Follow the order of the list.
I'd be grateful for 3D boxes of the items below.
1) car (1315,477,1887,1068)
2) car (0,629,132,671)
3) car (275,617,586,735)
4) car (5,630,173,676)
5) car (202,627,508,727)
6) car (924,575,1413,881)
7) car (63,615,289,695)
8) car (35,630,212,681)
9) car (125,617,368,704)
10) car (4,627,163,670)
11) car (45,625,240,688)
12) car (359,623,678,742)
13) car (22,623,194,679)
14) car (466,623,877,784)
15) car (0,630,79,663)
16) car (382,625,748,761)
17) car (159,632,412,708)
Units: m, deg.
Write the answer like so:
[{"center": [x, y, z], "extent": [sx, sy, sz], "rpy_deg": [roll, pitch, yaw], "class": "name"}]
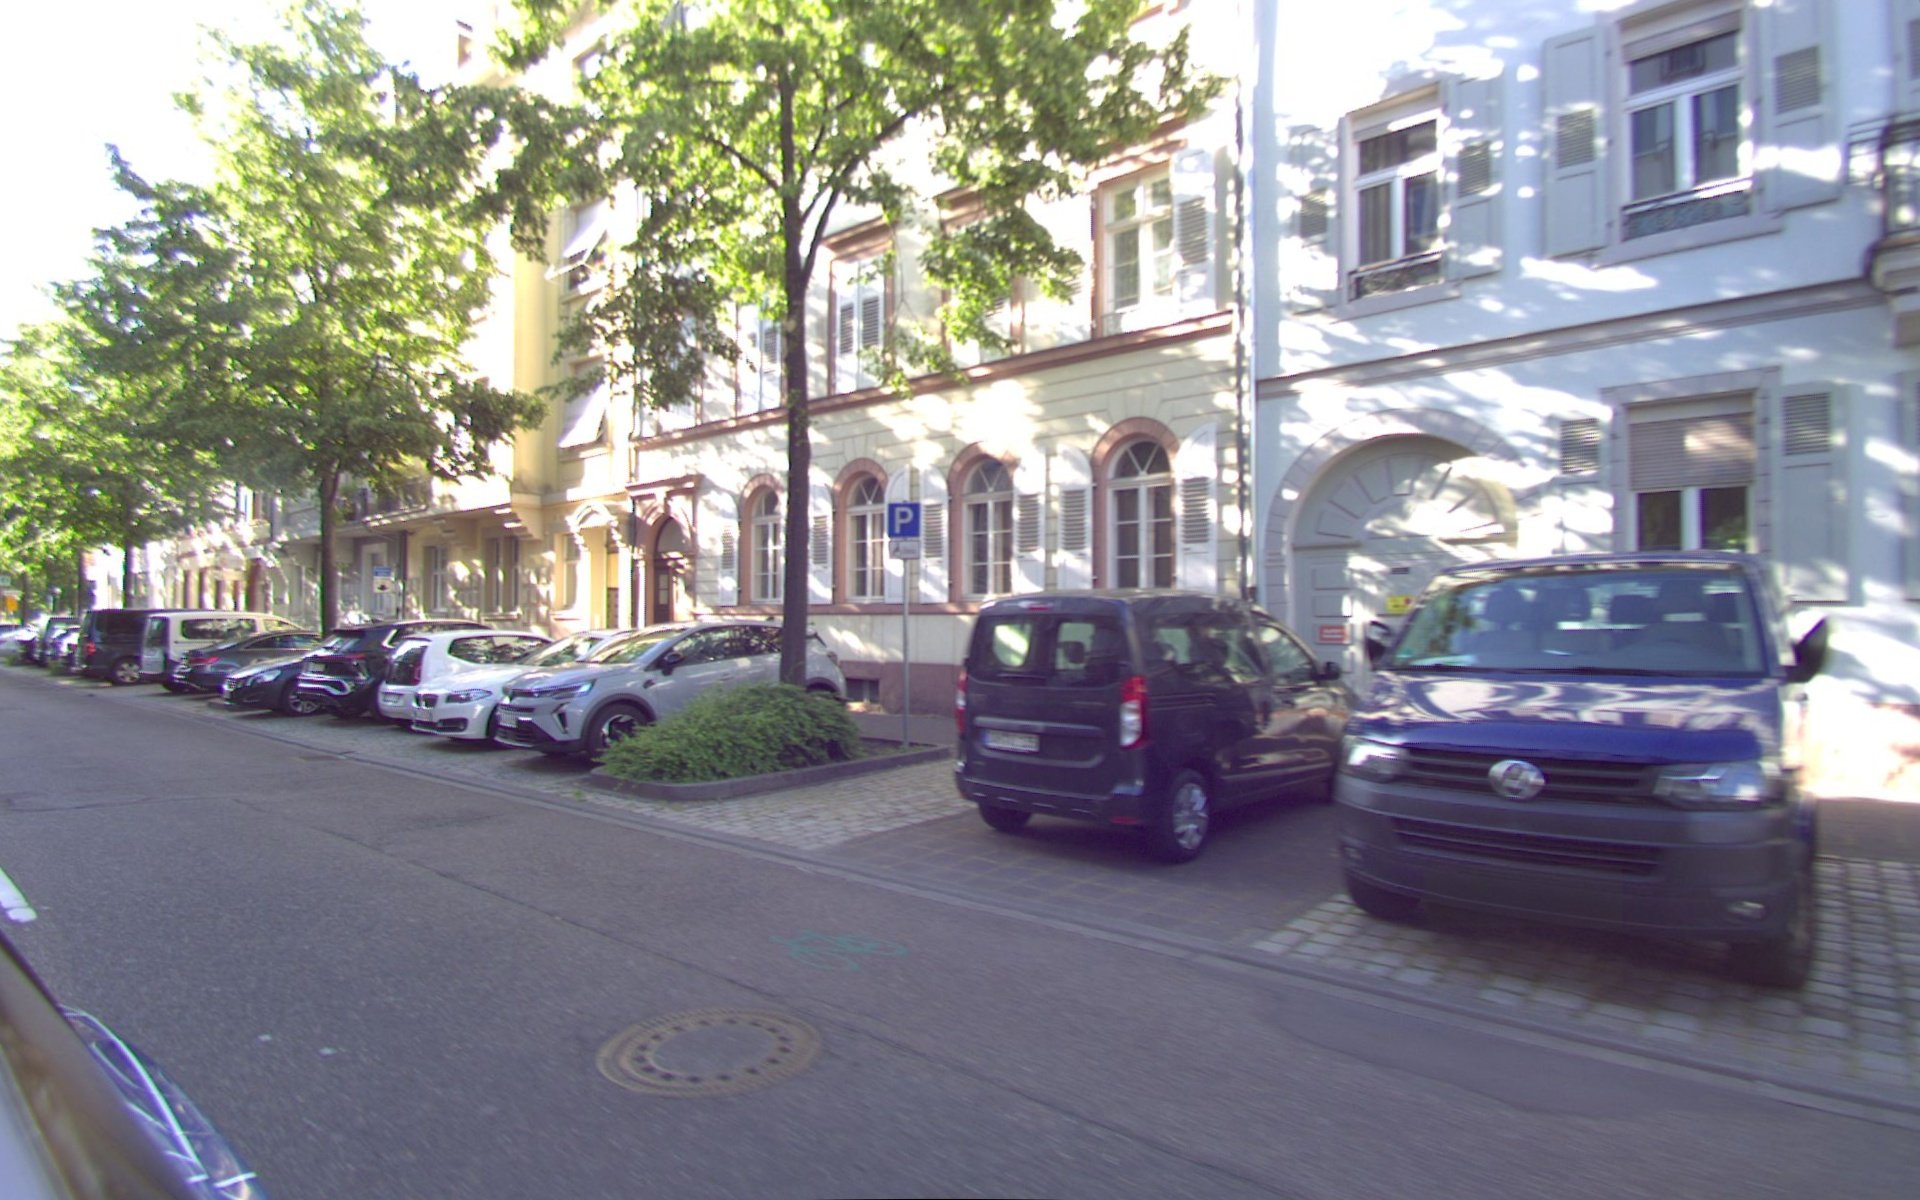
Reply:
[{"center": [3.904, 0.610, 5.749], "extent": [1.916, 1.965, 4.630], "rpy_deg": [-1, -2, 42], "class": "car"}, {"center": [-37.440, 2.041, 41.830], "extent": [1.996, 1.503, 4.657], "rpy_deg": [0, 0, 36], "class": "car"}, {"center": [-8.755, 1.158, 17.116], "extent": [1.911, 1.722, 4.304], "rpy_deg": [-1, -1, 33], "class": "car"}, {"center": [-32.030, 1.897, 37.358], "extent": [1.956, 1.556, 4.310], "rpy_deg": [-1, -1, 29], "class": "car"}, {"center": [-10.820, 1.282, 18.353], "extent": [1.916, 1.552, 4.417], "rpy_deg": [-1, -2, 43], "class": "car"}, {"center": [1.926, 0.785, 8.208], "extent": [1.916, 1.785, 4.418], "rpy_deg": [-1, -2, 42], "class": "car"}, {"center": [-20.874, 1.388, 27.093], "extent": [1.930, 1.941, 4.523], "rpy_deg": [-2, -2, 43], "class": "car"}, {"center": [-28.158, 1.819, 34.189], "extent": [1.913, 1.556, 4.300], "rpy_deg": [-1, -1, 36], "class": "car"}, {"center": [-16.742, 1.331, 23.967], "extent": [1.911, 1.848, 4.304], "rpy_deg": [-1, -1, 33], "class": "car"}, {"center": [-35.280, 1.922, 40.848], "extent": [1.999, 1.503, 4.650], "rpy_deg": [-3, -1, 41], "class": "car"}, {"center": [-24.739, 1.649, 30.749], "extent": [1.914, 1.746, 4.297], "rpy_deg": [-1, -2, 39], "class": "car"}, {"center": [-6.815, 1.179, 16.006], "extent": [1.808, 1.594, 4.295], "rpy_deg": [-1, -2, 40], "class": "car"}, {"center": [-30.104, 1.741, 35.878], "extent": [1.925, 1.838, 4.302], "rpy_deg": [-1, -1, 35], "class": "car"}, {"center": [-3.308, 1.074, 12.225], "extent": [4.414, 1.552, 1.918], "rpy_deg": [1, -2, -45], "class": "car"}, {"center": [-46.814, 2.310, 50.396], "extent": [1.944, 1.556, 4.292], "rpy_deg": [-1, -2, 42], "class": "car"}, {"center": [-5.323, 1.148, 14.149], "extent": [1.915, 1.552, 4.421], "rpy_deg": [-1, -2, 40], "class": "car"}, {"center": [-14.639, 1.446, 22.150], "extent": [1.916, 1.450, 4.293], "rpy_deg": [-1, -2, 42], "class": "car"}]
